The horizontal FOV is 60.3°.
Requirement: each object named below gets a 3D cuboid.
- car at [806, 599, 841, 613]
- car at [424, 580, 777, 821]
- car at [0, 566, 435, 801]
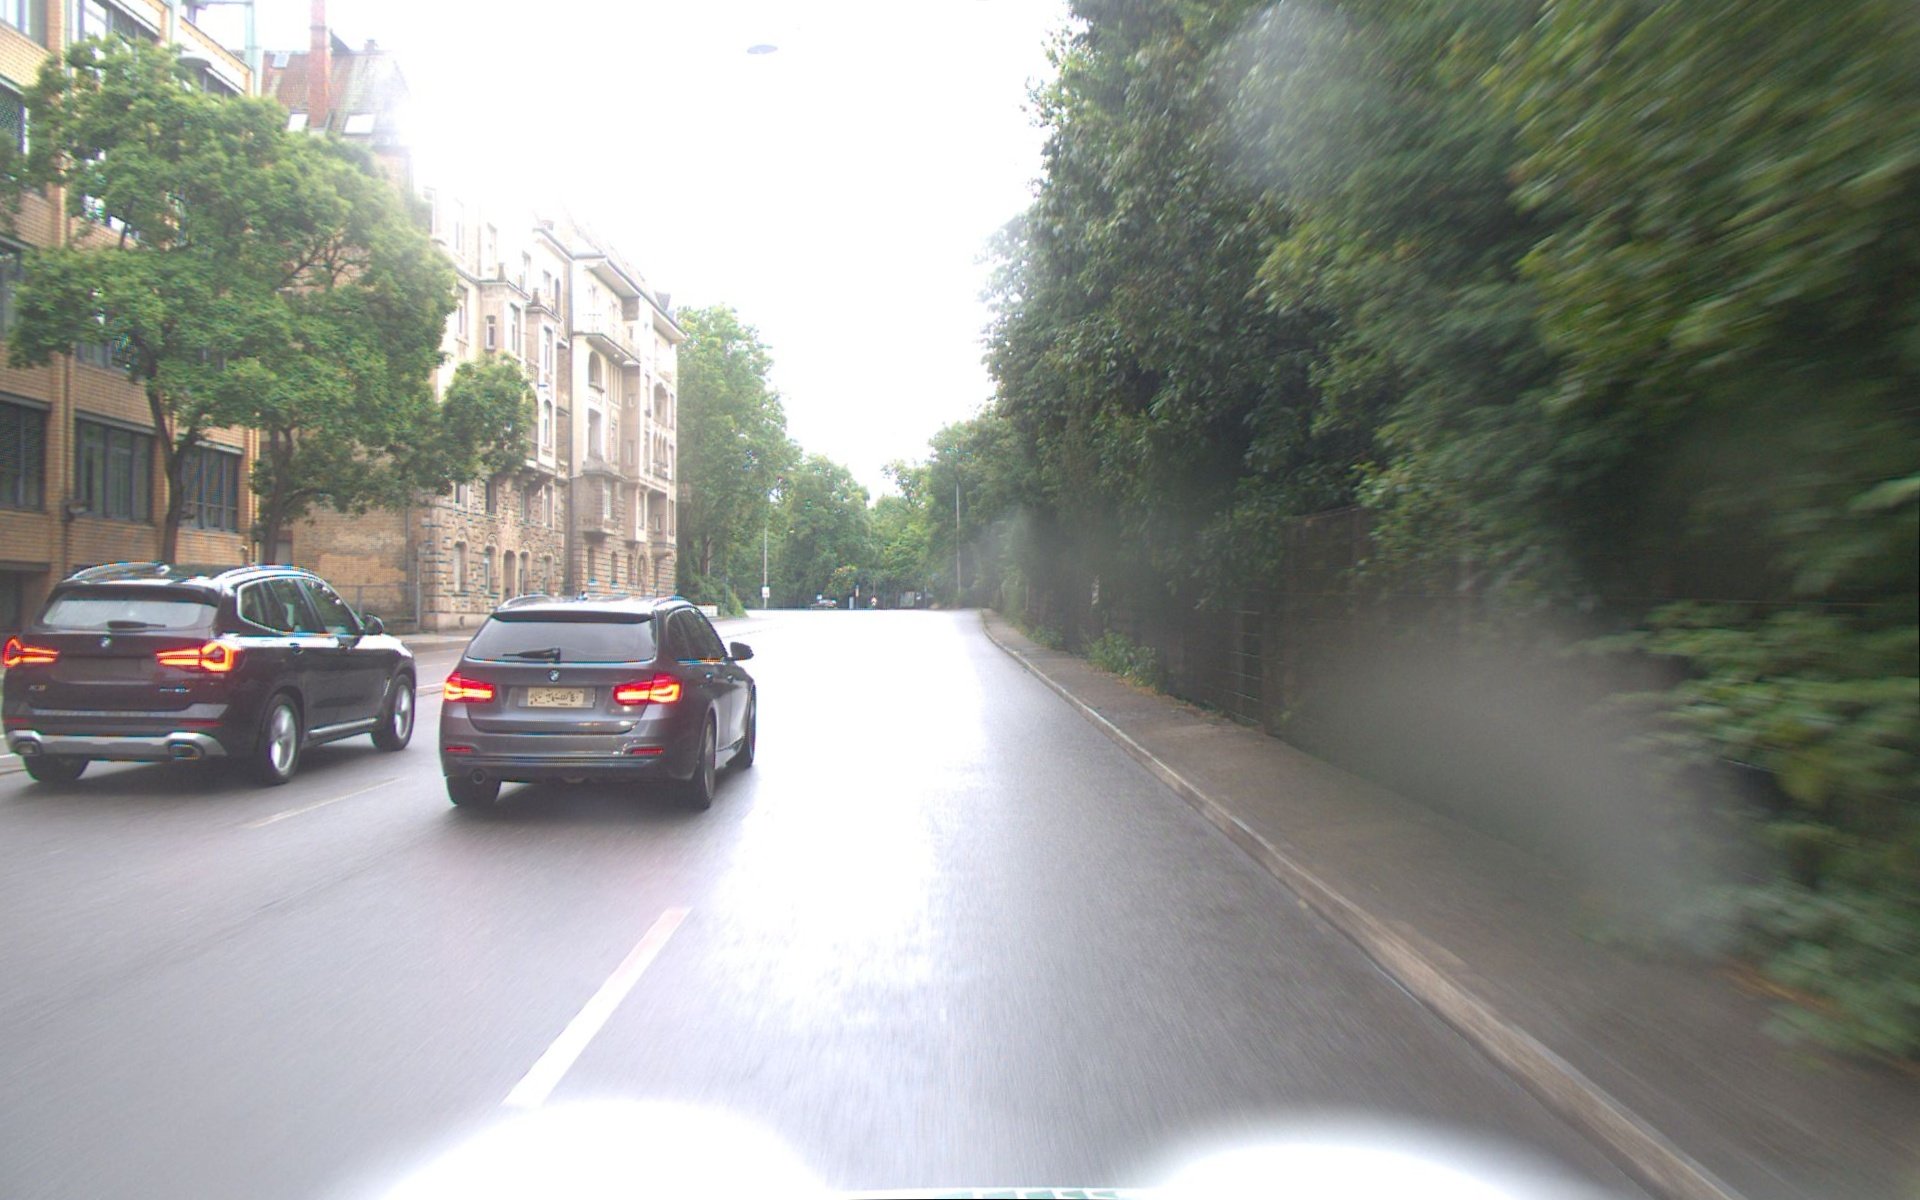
[{"bbox_3d":[-15.999,0.703,193.481,4.296,1.452,1.681,0,-3,44],"label":"car"},{"bbox_3d":[-2.492,0.633,12.558,1.722,1.457,4.412,2,0,-1],"label":"car"},{"bbox_3d":[-5.892,0.583,13.686,1.722,1.613,4.412,1,0,-1],"label":"car"}]
